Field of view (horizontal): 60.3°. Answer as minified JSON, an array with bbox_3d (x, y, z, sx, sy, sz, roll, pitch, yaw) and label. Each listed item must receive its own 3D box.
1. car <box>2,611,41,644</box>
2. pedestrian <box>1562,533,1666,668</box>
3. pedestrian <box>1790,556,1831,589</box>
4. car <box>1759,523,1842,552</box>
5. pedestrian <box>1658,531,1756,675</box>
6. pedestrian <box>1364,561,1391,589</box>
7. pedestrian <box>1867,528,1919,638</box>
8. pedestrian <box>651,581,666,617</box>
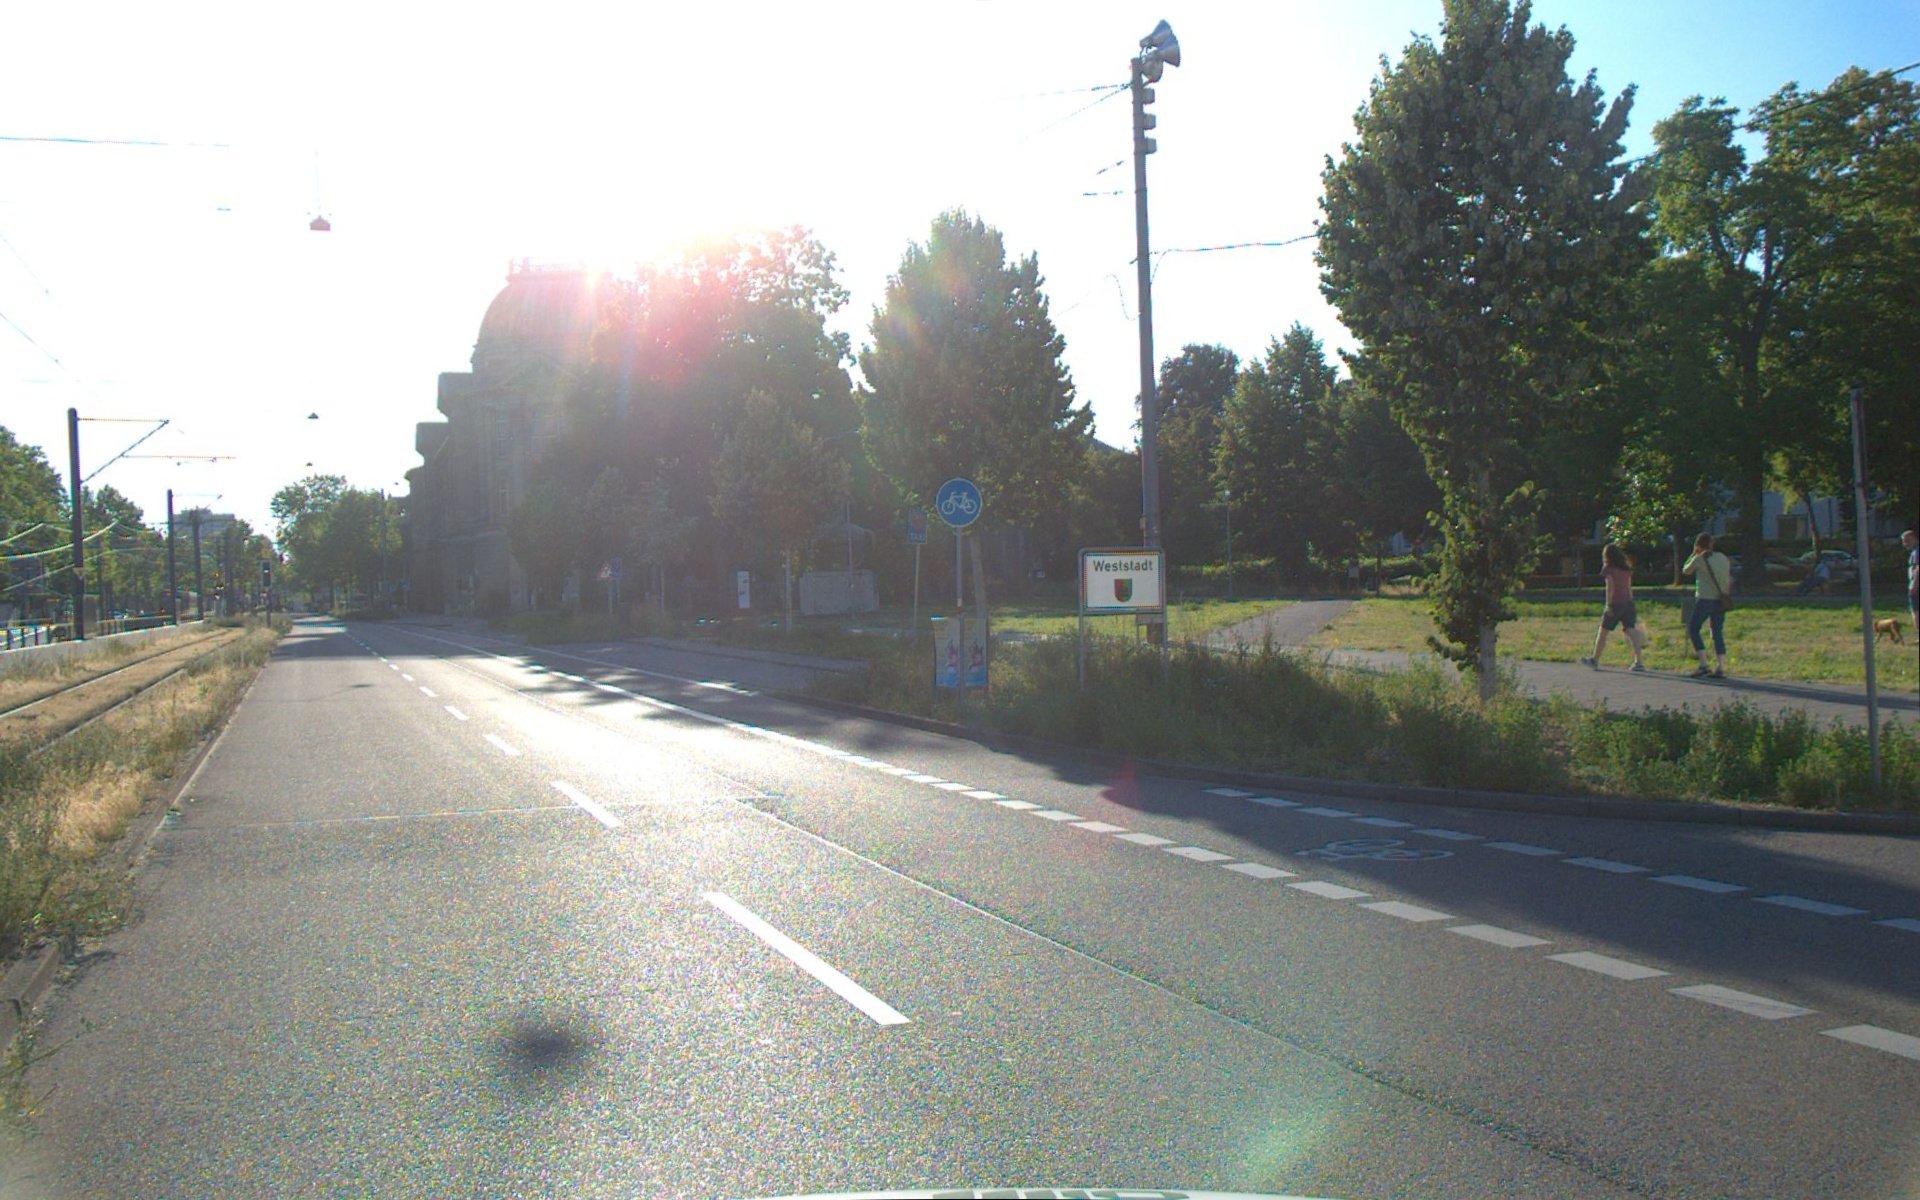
[{"bbox_3d":[-62.236,1.780,109.726,1.970,2.048,3.966,-3,1,-26],"label":"car"},{"bbox_3d":[8.718,-0.013,22.088,0.828,1.726,1.013,-2,2,-15],"label":"pedestrian"},{"bbox_3d":[26.621,-0.863,51.766,1.164,0.970,0.792,-3,2,-42],"label":"pedestrian"},{"bbox_3d":[54.192,-4.013,106.750,1.974,1.599,4.417,-3,1,-31],"label":"car"},{"bbox_3d":[9.299,0.021,20.612,0.696,1.726,0.892,-2,2,-15],"label":"pedestrian"},{"bbox_3d":[18.573,-1.117,73.562,0.799,1.208,0.840,-2,1,-21],"label":"pedestrian"},{"bbox_3d":[15.275,-0.288,26.655,0.824,1.726,1.018,-2,2,8],"label":"pedestrian"},{"bbox_3d":[-15.660,-0.050,85.987,0.673,1.854,0.533,-2,0,-17],"label":"pedestrian"}]
